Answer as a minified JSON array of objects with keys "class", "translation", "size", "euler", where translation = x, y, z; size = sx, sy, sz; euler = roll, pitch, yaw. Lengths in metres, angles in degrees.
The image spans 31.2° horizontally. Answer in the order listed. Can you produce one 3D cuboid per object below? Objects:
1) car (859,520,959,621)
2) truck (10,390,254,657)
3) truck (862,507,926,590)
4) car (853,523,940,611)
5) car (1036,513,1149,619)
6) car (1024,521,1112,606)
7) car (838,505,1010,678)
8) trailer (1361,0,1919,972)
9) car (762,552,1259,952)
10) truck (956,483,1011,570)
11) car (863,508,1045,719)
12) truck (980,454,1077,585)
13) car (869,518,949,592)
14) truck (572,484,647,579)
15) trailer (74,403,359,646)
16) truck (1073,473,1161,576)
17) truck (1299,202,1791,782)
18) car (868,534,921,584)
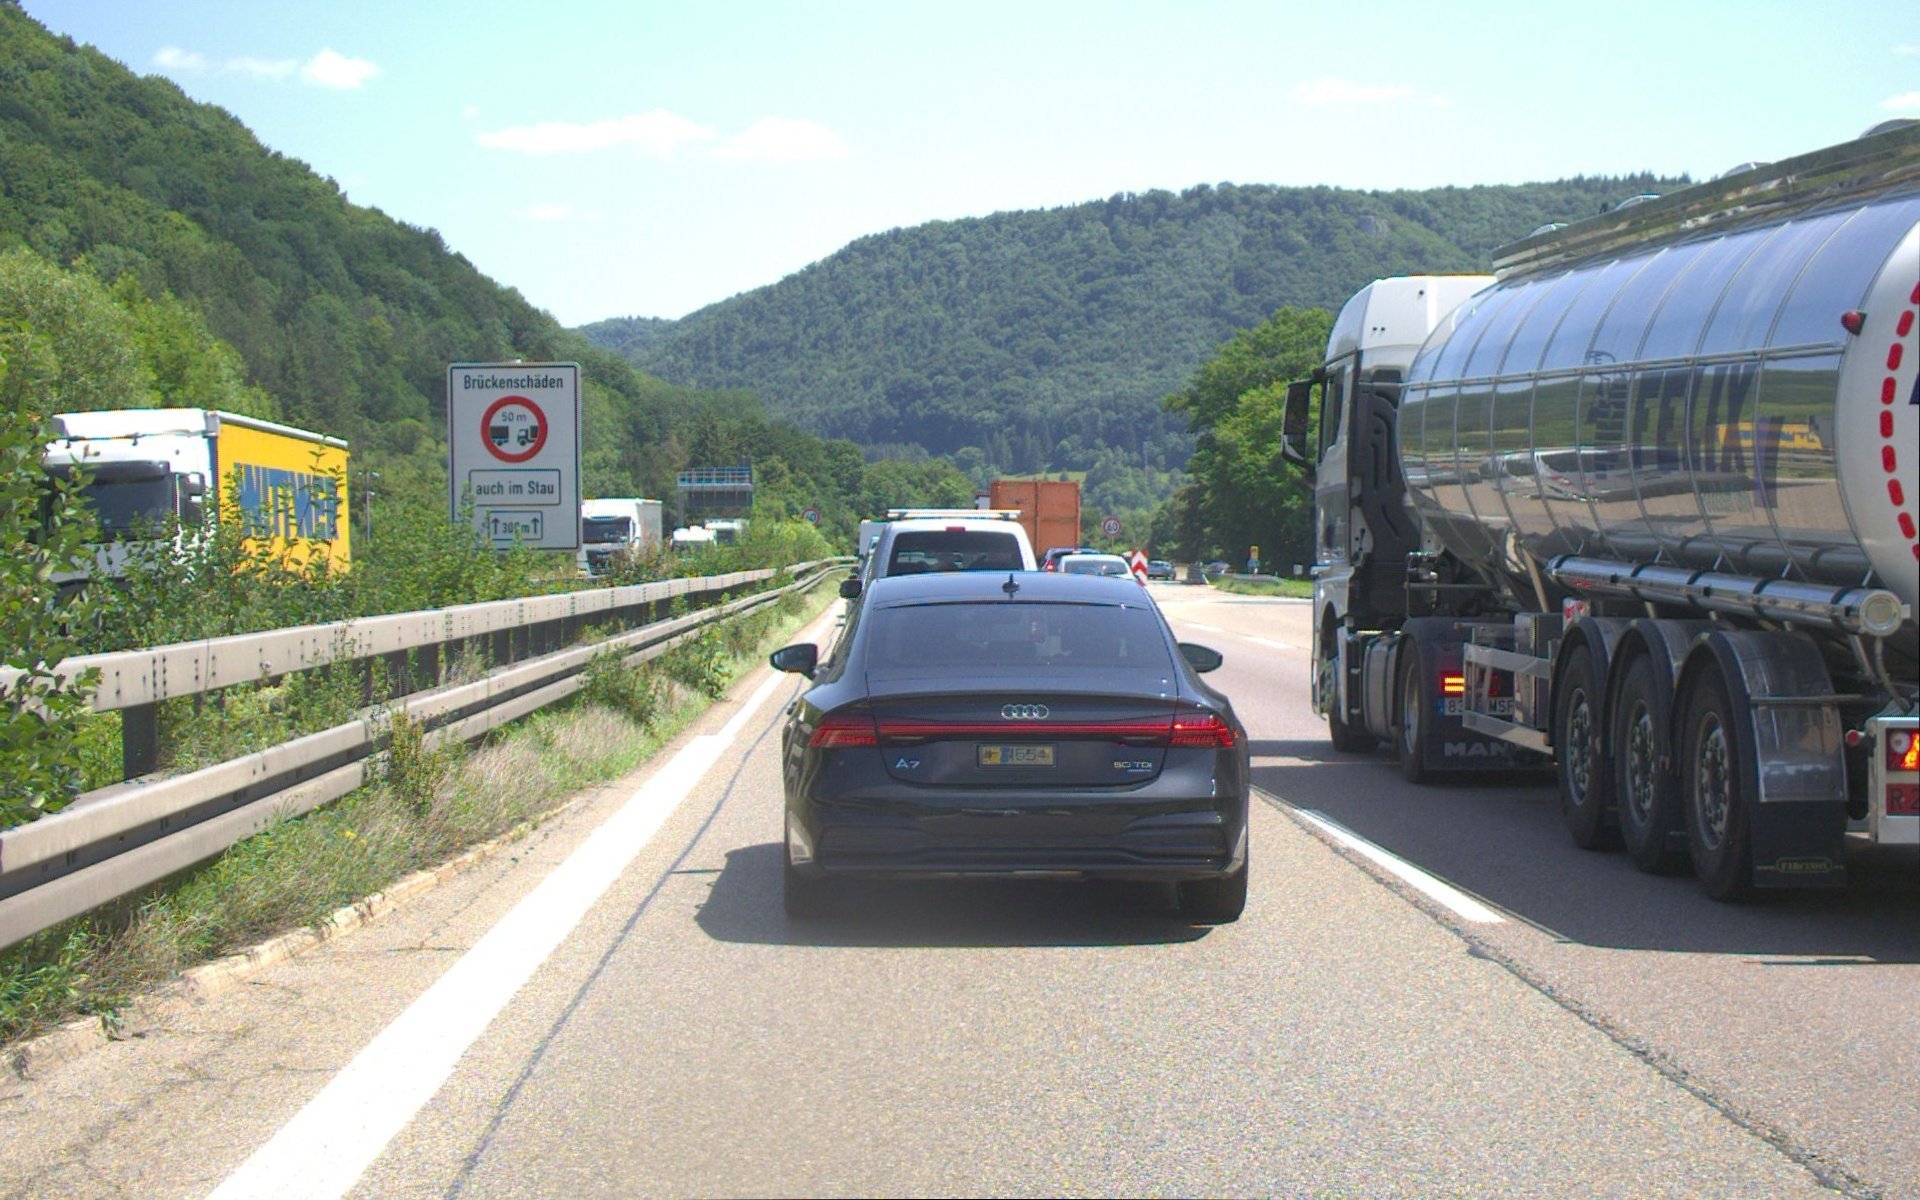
[{"class":"car","translation":[-1.075,-0.626,71.272],"size":[1.993,2.007,4.000],"euler":[-1,1,-1]},{"class":"truck","translation":[-13.288,-1.219,55.602],"size":[2.547,4.076,5.850],"euler":[0,1,0]},{"class":"truck","translation":[-2.799,-2.246,148.754],"size":[2.628,3.429,11.421],"euler":[-1,1,-1]},{"class":"car","translation":[-1.507,-0.790,81.229],"size":[1.993,2.007,4.000],"euler":[-1,1,-1]},{"class":"car","translation":[2.590,-0.684,67.918],"size":[1.993,2.007,4.000],"euler":[-1,1,-1]},{"class":"car","translation":[2.595,-0.896,83.085],"size":[1.993,1.996,4.000],"euler":[-1,1,0]},{"class":"car","translation":[-0.459,-0.130,42.038],"size":[1.993,2.007,4.000],"euler":[0,1,-1]},{"class":"trailer","translation":[4.276,-0.612,18.299],"size":[2.538,3.722,11.893],"euler":[0,1,-2]},{"class":"car","translation":[0.074,0.544,14.908],"size":[1.849,1.483,4.083],"euler":[0,1,-3]},{"class":"truck","translation":[0.936,-2.999,142.357],"size":[1.993,3.435,11.812],"euler":[0,1,-1]},{"class":"car","translation":[-0.092,0.085,31.988],"size":[1.575,1.827,4.000],"euler":[0,1,-1]},{"class":"truck","translation":[2.132,-2.567,112.365],"size":[2.817,3.989,14.956],"euler":[0,1,0]},{"class":"car","translation":[-1.125,-1.017,77.487],"size":[1.712,1.613,4.000],"euler":[-1,1,0]},{"class":"truck","translation":[-15.033,-2.933,147.699],"size":[2.728,3.987,5.370],"euler":[-1,1,-1]},{"class":"trailer","translation":[-13.365,-1.337,63.002],"size":[2.581,3.991,12.602],"euler":[0,1,0]},{"class":"truck","translation":[6.339,-3.040,140.839],"size":[2.817,3.989,14.956],"euler":[0,1,0]},{"class":"truck","translation":[4.059,-0.739,24.958],"size":[2.511,3.745,5.246],"euler":[0,1,-2]},{"class":"car","translation":[-2.185,-1.387,115.600],"size":[1.712,1.613,4.000],"euler":[-1,1,0]}]
